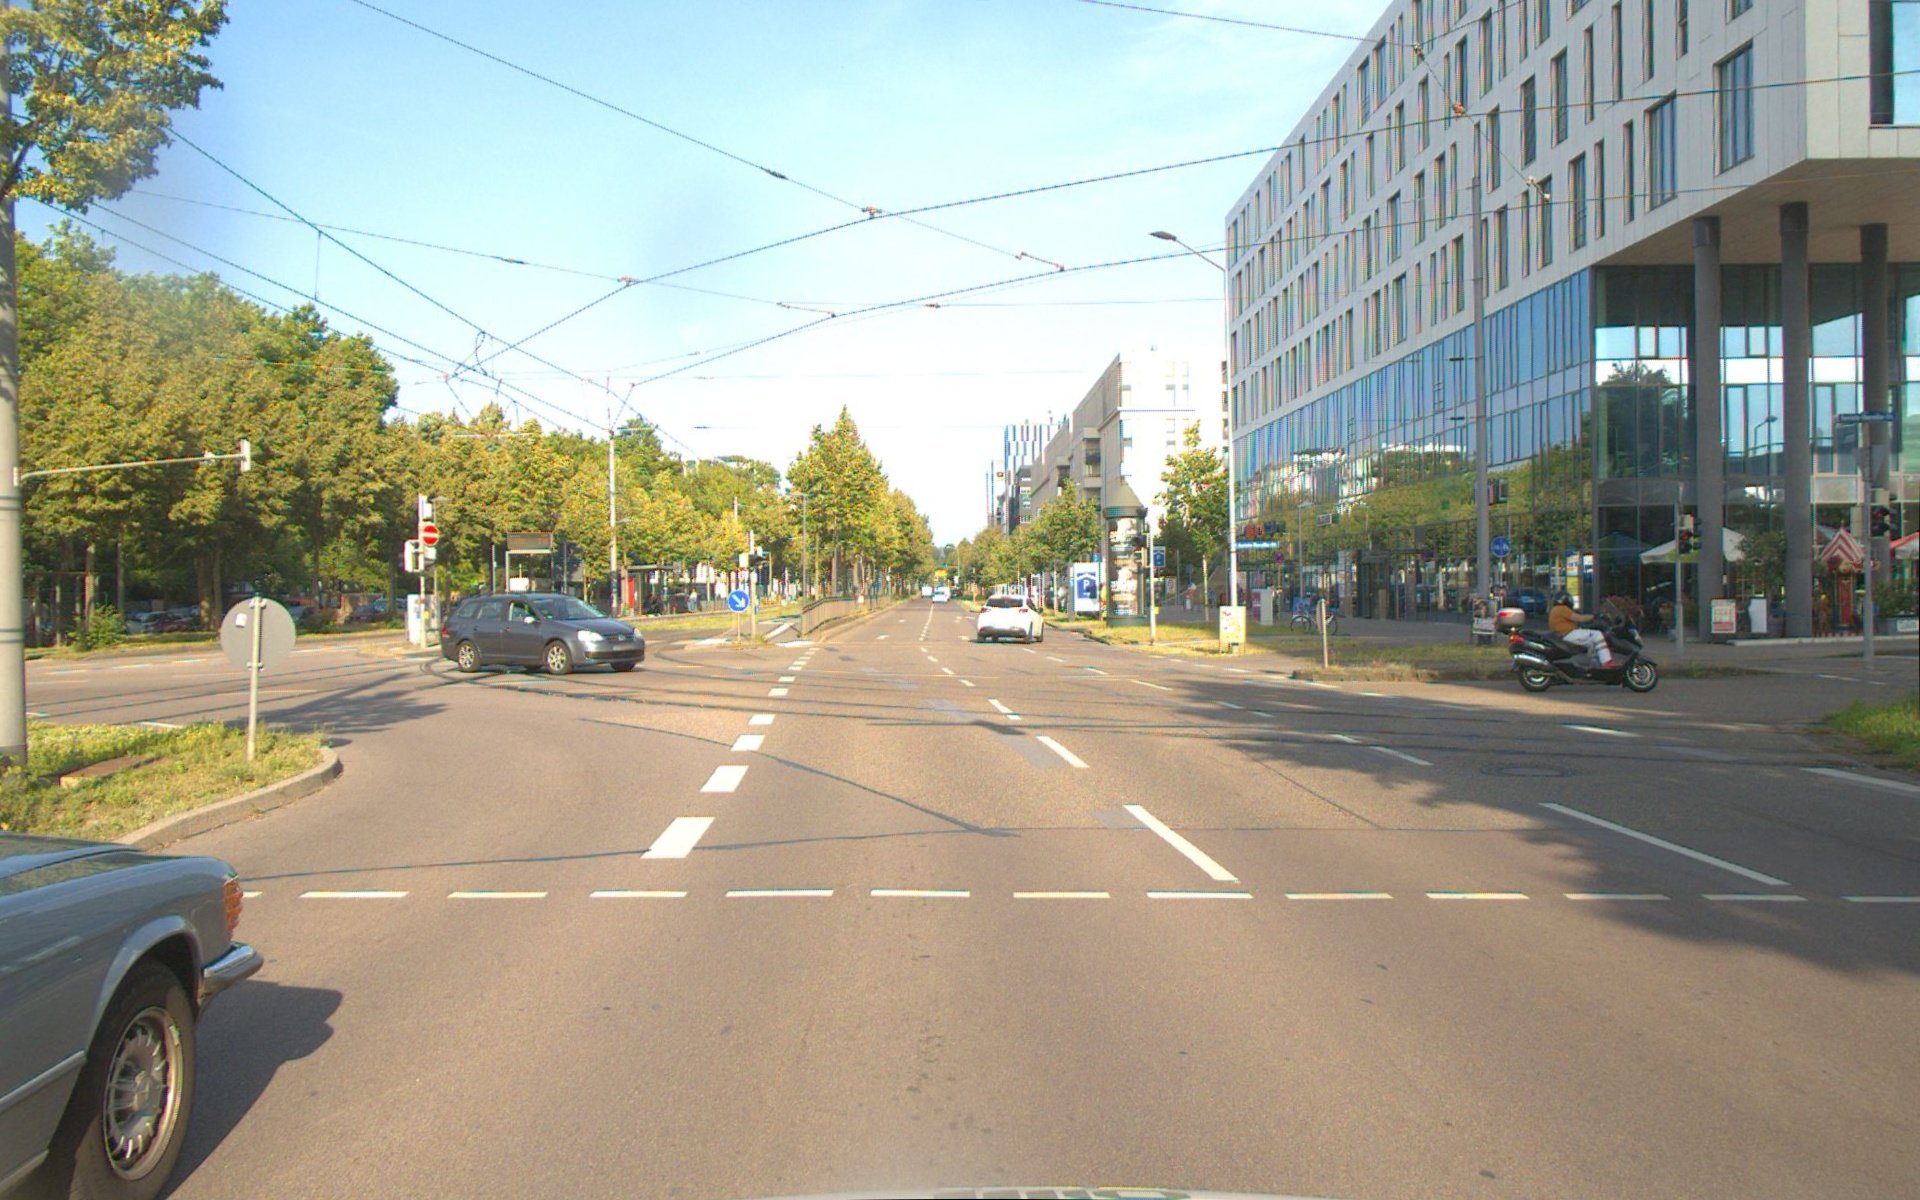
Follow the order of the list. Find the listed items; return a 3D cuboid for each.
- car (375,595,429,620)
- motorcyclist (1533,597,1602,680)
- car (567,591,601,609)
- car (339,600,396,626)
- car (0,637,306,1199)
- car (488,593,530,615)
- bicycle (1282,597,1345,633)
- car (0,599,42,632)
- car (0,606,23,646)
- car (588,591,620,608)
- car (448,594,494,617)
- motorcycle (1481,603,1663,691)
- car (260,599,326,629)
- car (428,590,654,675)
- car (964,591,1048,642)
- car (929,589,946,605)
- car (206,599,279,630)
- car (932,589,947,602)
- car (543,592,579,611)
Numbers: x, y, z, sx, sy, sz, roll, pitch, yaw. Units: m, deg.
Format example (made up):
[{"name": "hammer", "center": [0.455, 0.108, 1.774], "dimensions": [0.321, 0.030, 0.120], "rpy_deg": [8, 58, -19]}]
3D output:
[{"name": "car", "center": [-36.451, 0.474, 108.120], "dimensions": [1.841, 1.586, 4.002], "rpy_deg": [-1, 0, 4]}, {"name": "motorcyclist", "center": [9.280, 0.573, 25.287], "dimensions": [0.827, 1.224, 0.785], "rpy_deg": [1, 1, 8]}, {"name": "car", "center": [-33.854, 0.011, 148.985], "dimensions": [1.841, 1.586, 4.002], "rpy_deg": [-1, 0, 4]}, {"name": "car", "center": [-36.881, 0.797, 103.033], "dimensions": [1.841, 1.586, 4.002], "rpy_deg": [-1, 0, 4]}, {"name": "car", "center": [-2.655, 0.811, 2.434], "dimensions": [1.728, 1.353, 4.399], "rpy_deg": [1, 1, -2]}, {"name": "car", "center": [-35.037, 0.302, 128.544], "dimensions": [1.841, 1.586, 4.002], "rpy_deg": [-1, 0, 4]}, {"name": "bicycle", "center": [11.340, 0.469, 53.110], "dimensions": [0.768, 1.050, 1.848], "rpy_deg": [-1, 3, -44]}, {"name": "car", "center": [-46.660, 0.766, 80.210], "dimensions": [1.841, 1.586, 4.002], "rpy_deg": [-1, 0, 4]}, {"name": "car", "center": [-39.331, 1.060, 65.578], "dimensions": [1.841, 1.586, 4.002], "rpy_deg": [-1, 0, 4]}, {"name": "car", "center": [-33.412, -0.071, 155.415], "dimensions": [1.841, 1.586, 4.002], "rpy_deg": [-1, 0, 4]}, {"name": "car", "center": [-35.620, 0.405, 120.613], "dimensions": [1.841, 1.586, 4.002], "rpy_deg": [-1, 0, 4]}, {"name": "motorcycle", "center": [9.326, 0.700, 25.300], "dimensions": [2.486, 1.285, 0.822], "rpy_deg": [0, 0, 8]}, {"name": "car", "center": [-37.708, 0.785, 93.568], "dimensions": [1.841, 1.586, 4.002], "rpy_deg": [-1, 0, 4]}, {"name": "car", "center": [-7.868, 0.568, 30.881], "dimensions": [4.486, 1.487, 1.727], "rpy_deg": [0, 0, 38]}, {"name": "car", "center": [1.502, 0.510, 52.203], "dimensions": [1.951, 1.530, 4.096], "rpy_deg": [0, 0, 12]}, {"name": "car", "center": [-2.567, -0.324, 189.390], "dimensions": [1.826, 1.713, 4.000], "rpy_deg": [1, 1, 0]}, {"name": "car", "center": [-38.127, 0.769, 87.989], "dimensions": [1.841, 1.586, 4.002], "rpy_deg": [-1, 0, 4]}, {"name": "car", "center": [-2.723, -0.636, 220.100], "dimensions": [1.826, 1.713, 4.000], "rpy_deg": [1, 1, 0]}, {"name": "car", "center": [-34.456, 0.086, 142.967], "dimensions": [1.841, 1.586, 4.002], "rpy_deg": [-1, 0, 4]}]
